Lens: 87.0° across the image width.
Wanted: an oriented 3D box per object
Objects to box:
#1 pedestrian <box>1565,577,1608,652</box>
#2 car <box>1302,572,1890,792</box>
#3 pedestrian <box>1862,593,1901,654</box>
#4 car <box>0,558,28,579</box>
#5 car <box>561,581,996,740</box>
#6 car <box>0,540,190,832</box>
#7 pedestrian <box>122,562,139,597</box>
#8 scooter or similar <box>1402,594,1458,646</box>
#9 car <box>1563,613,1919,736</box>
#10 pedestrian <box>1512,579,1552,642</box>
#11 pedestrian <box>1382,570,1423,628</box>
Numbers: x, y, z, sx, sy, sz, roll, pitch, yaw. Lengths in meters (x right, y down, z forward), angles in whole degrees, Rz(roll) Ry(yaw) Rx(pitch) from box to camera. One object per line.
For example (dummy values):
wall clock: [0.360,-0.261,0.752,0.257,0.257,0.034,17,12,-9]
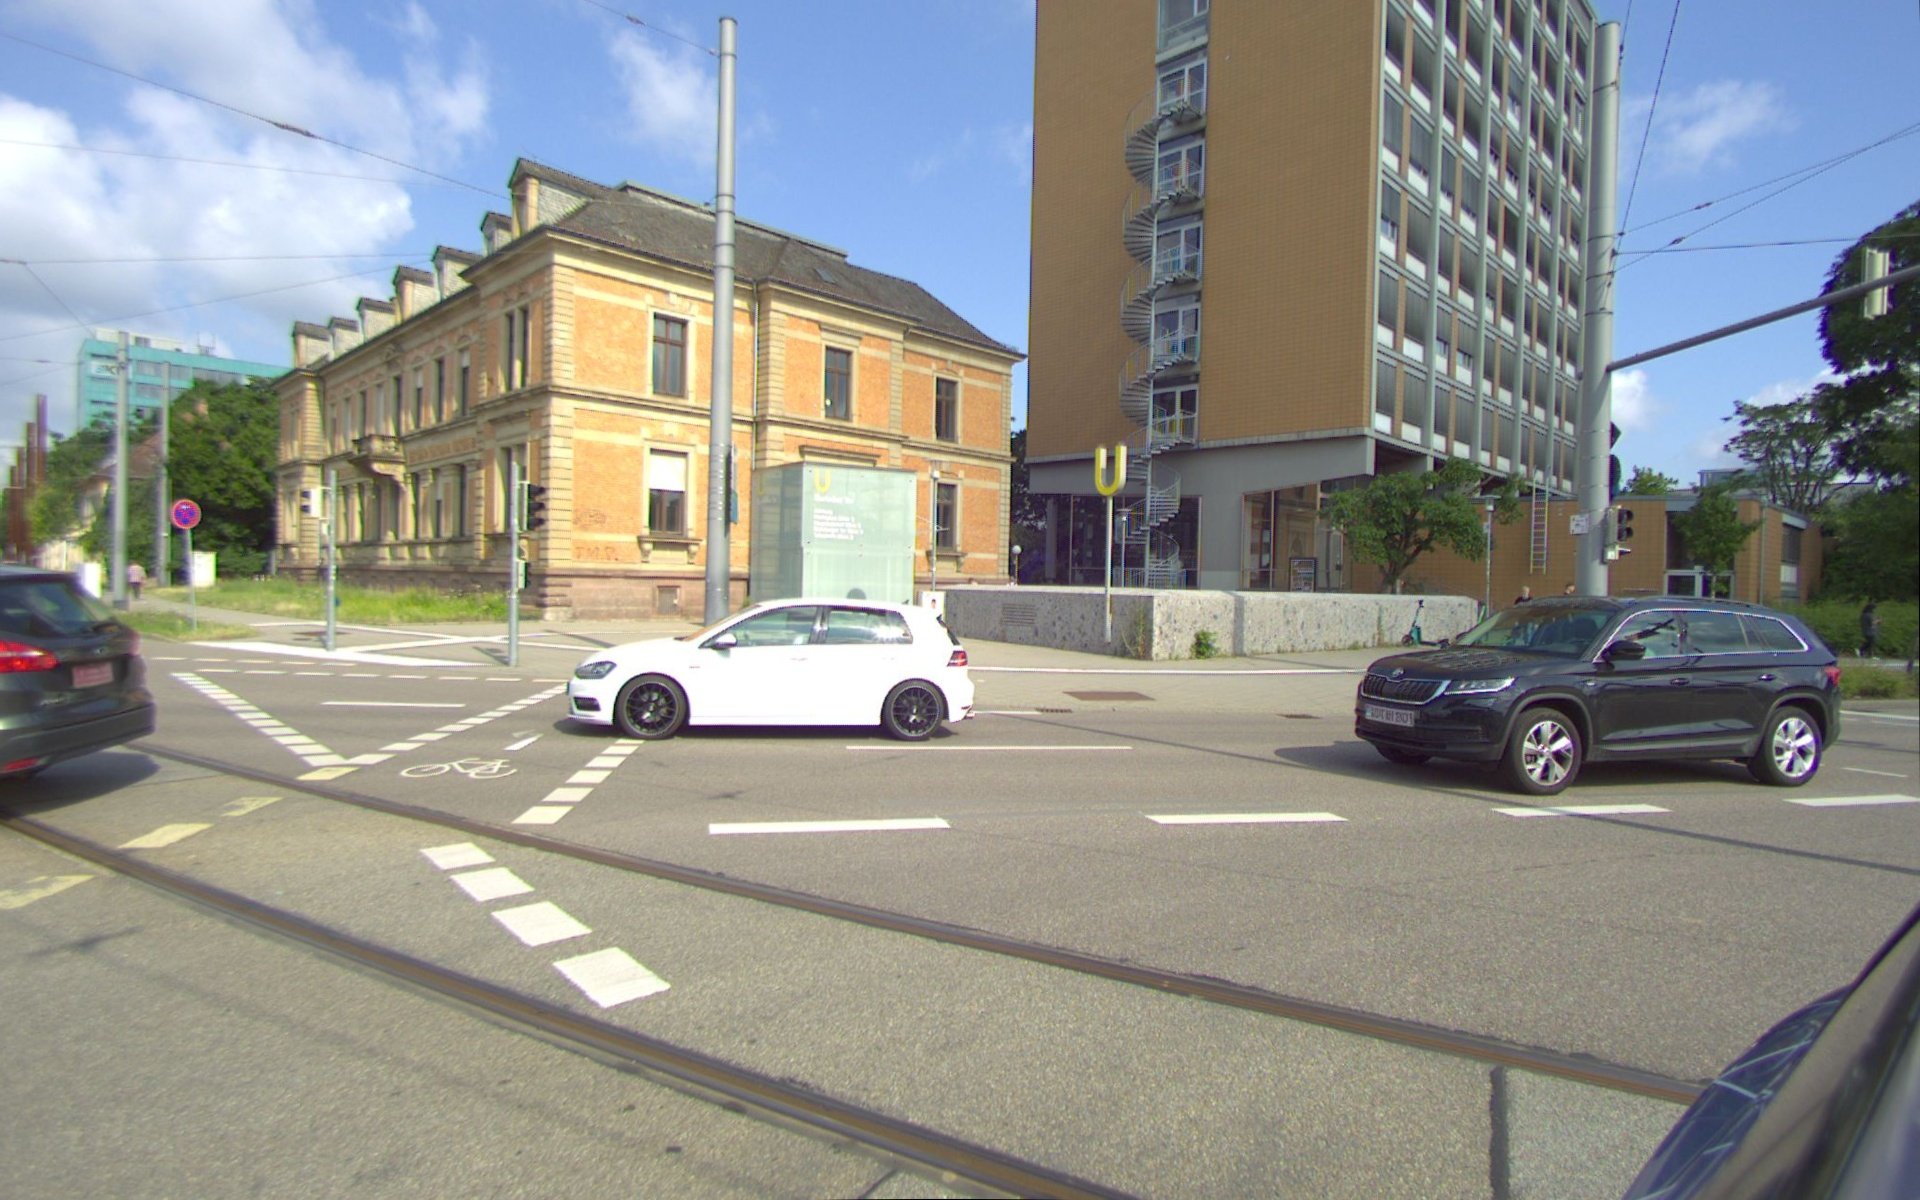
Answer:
pedestrian: [17.828,0.391,28.826,0.797,2.037,0.721,2,5,18]
car: [5.766,0.683,9.349,4.585,1.690,2.004,1,-1,-15]
pedestrian: [24.469,0.618,26.885,0.576,1.538,0.475,3,4,28]
car: [-73.852,-2.437,78.850,1.726,1.549,3.992,1,0,-42]
car: [-1.866,0.618,10.671,4.143,1.464,1.688,2,-1,-15]
car: [-7.222,0.443,5.748,4.166,1.548,1.777,0,0,-14]
pedestrian: [-35.829,-0.885,43.710,0.497,1.524,0.499,1,1,40]
scooter or similar: [11.881,0.496,25.599,0.396,1.211,1.185,-2,4,-41]
car: [10.567,0.909,13.274,4.414,1.416,2.004,1,-1,-13]
pedestrian: [15.015,0.254,26.560,0.769,1.608,0.754,1,1,39]
pedestrian: [13.279,-0.042,30.383,0.925,1.606,0.762,3,5,15]
